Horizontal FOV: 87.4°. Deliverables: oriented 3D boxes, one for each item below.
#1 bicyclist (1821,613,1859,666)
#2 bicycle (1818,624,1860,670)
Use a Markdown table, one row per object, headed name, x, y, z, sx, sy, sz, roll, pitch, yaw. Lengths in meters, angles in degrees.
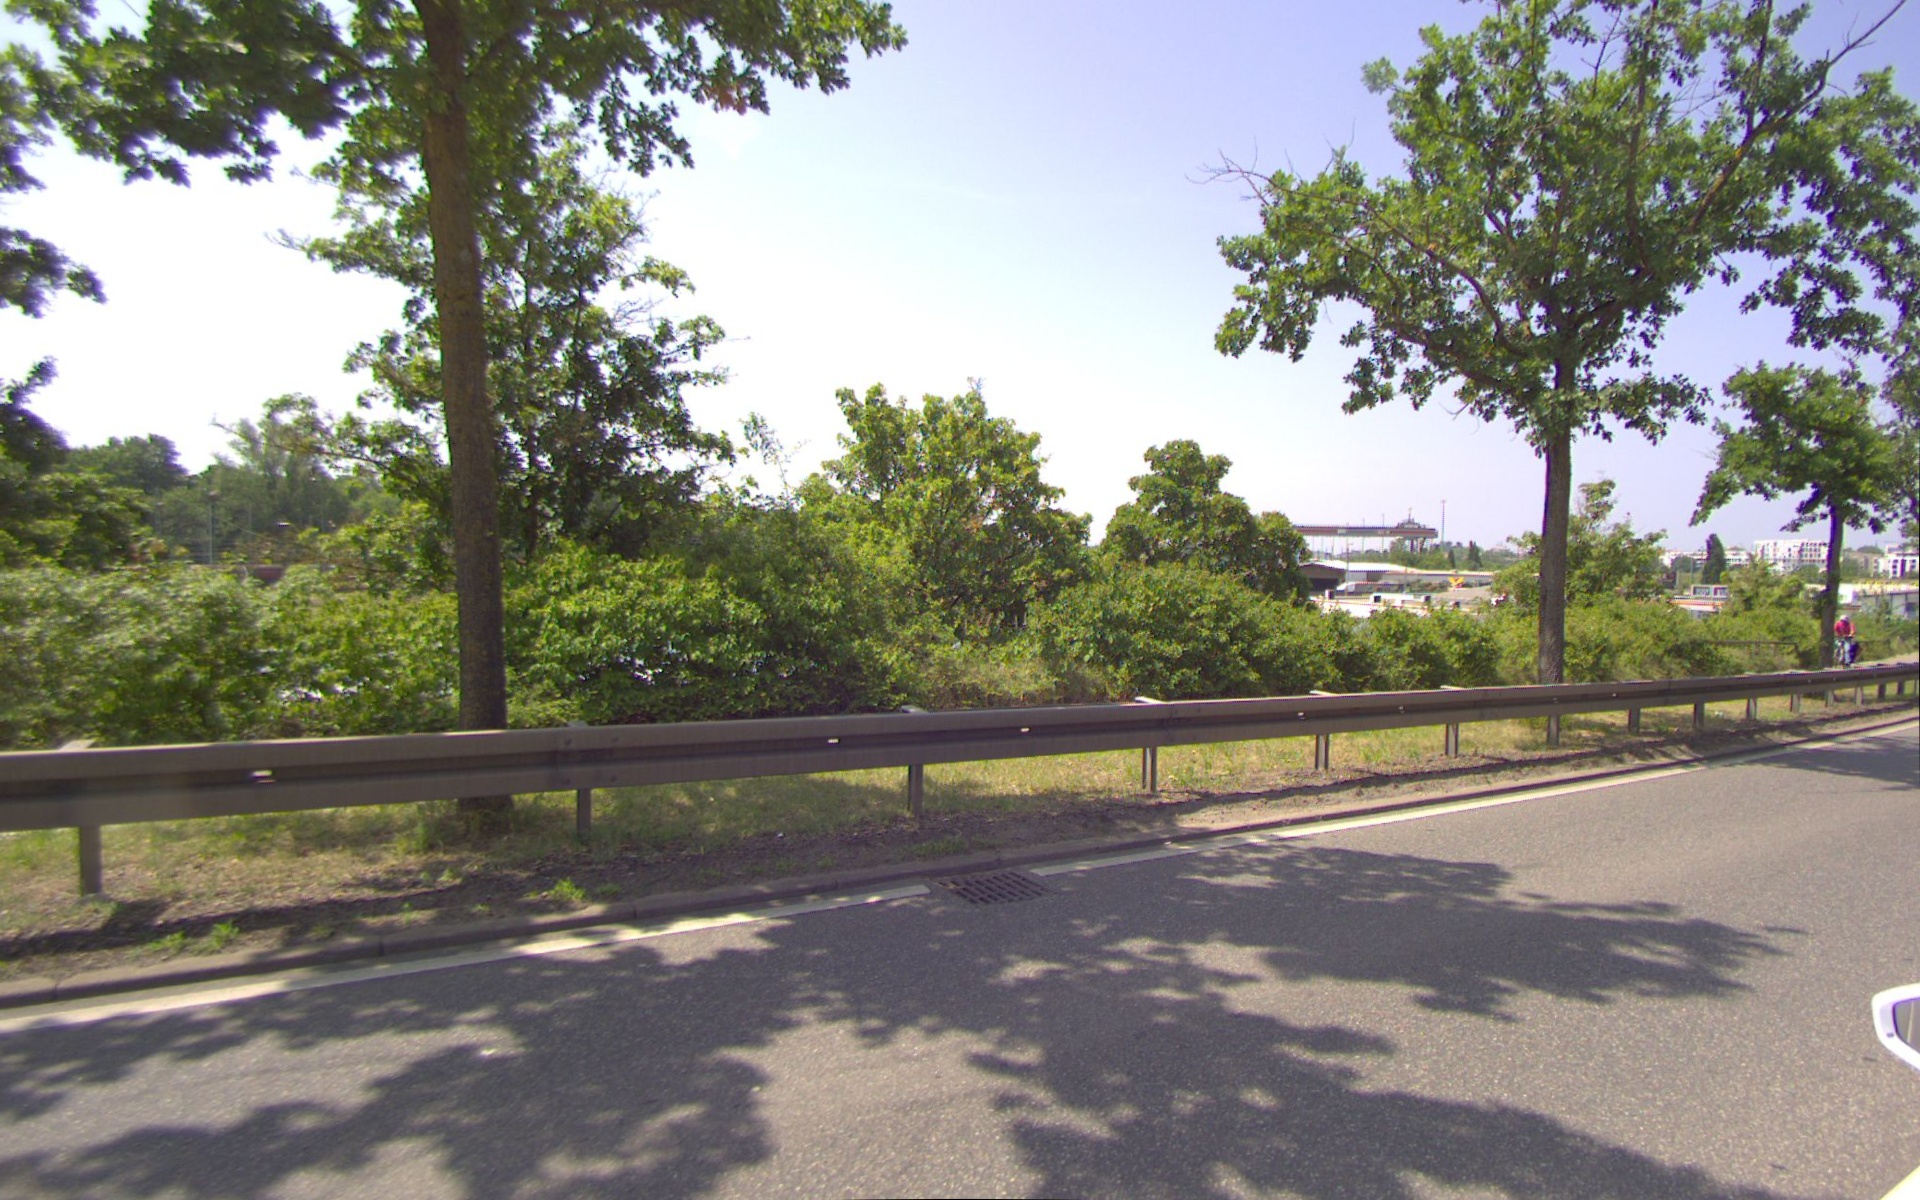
| name | x | y | z | sx | sy | sz | roll | pitch | yaw |
| --- | --- | --- | --- | --- | --- | --- | --- | --- | --- |
| bicyclist | 26.215 | 1.172 | 29.928 | 0.751 | 1.509 | 0.734 | 2 | 1 | -43 |
| bicycle | 26.199 | 1.391 | 29.936 | 2.032 | 1.298 | 0.727 | 2 | 1 | -44 |
